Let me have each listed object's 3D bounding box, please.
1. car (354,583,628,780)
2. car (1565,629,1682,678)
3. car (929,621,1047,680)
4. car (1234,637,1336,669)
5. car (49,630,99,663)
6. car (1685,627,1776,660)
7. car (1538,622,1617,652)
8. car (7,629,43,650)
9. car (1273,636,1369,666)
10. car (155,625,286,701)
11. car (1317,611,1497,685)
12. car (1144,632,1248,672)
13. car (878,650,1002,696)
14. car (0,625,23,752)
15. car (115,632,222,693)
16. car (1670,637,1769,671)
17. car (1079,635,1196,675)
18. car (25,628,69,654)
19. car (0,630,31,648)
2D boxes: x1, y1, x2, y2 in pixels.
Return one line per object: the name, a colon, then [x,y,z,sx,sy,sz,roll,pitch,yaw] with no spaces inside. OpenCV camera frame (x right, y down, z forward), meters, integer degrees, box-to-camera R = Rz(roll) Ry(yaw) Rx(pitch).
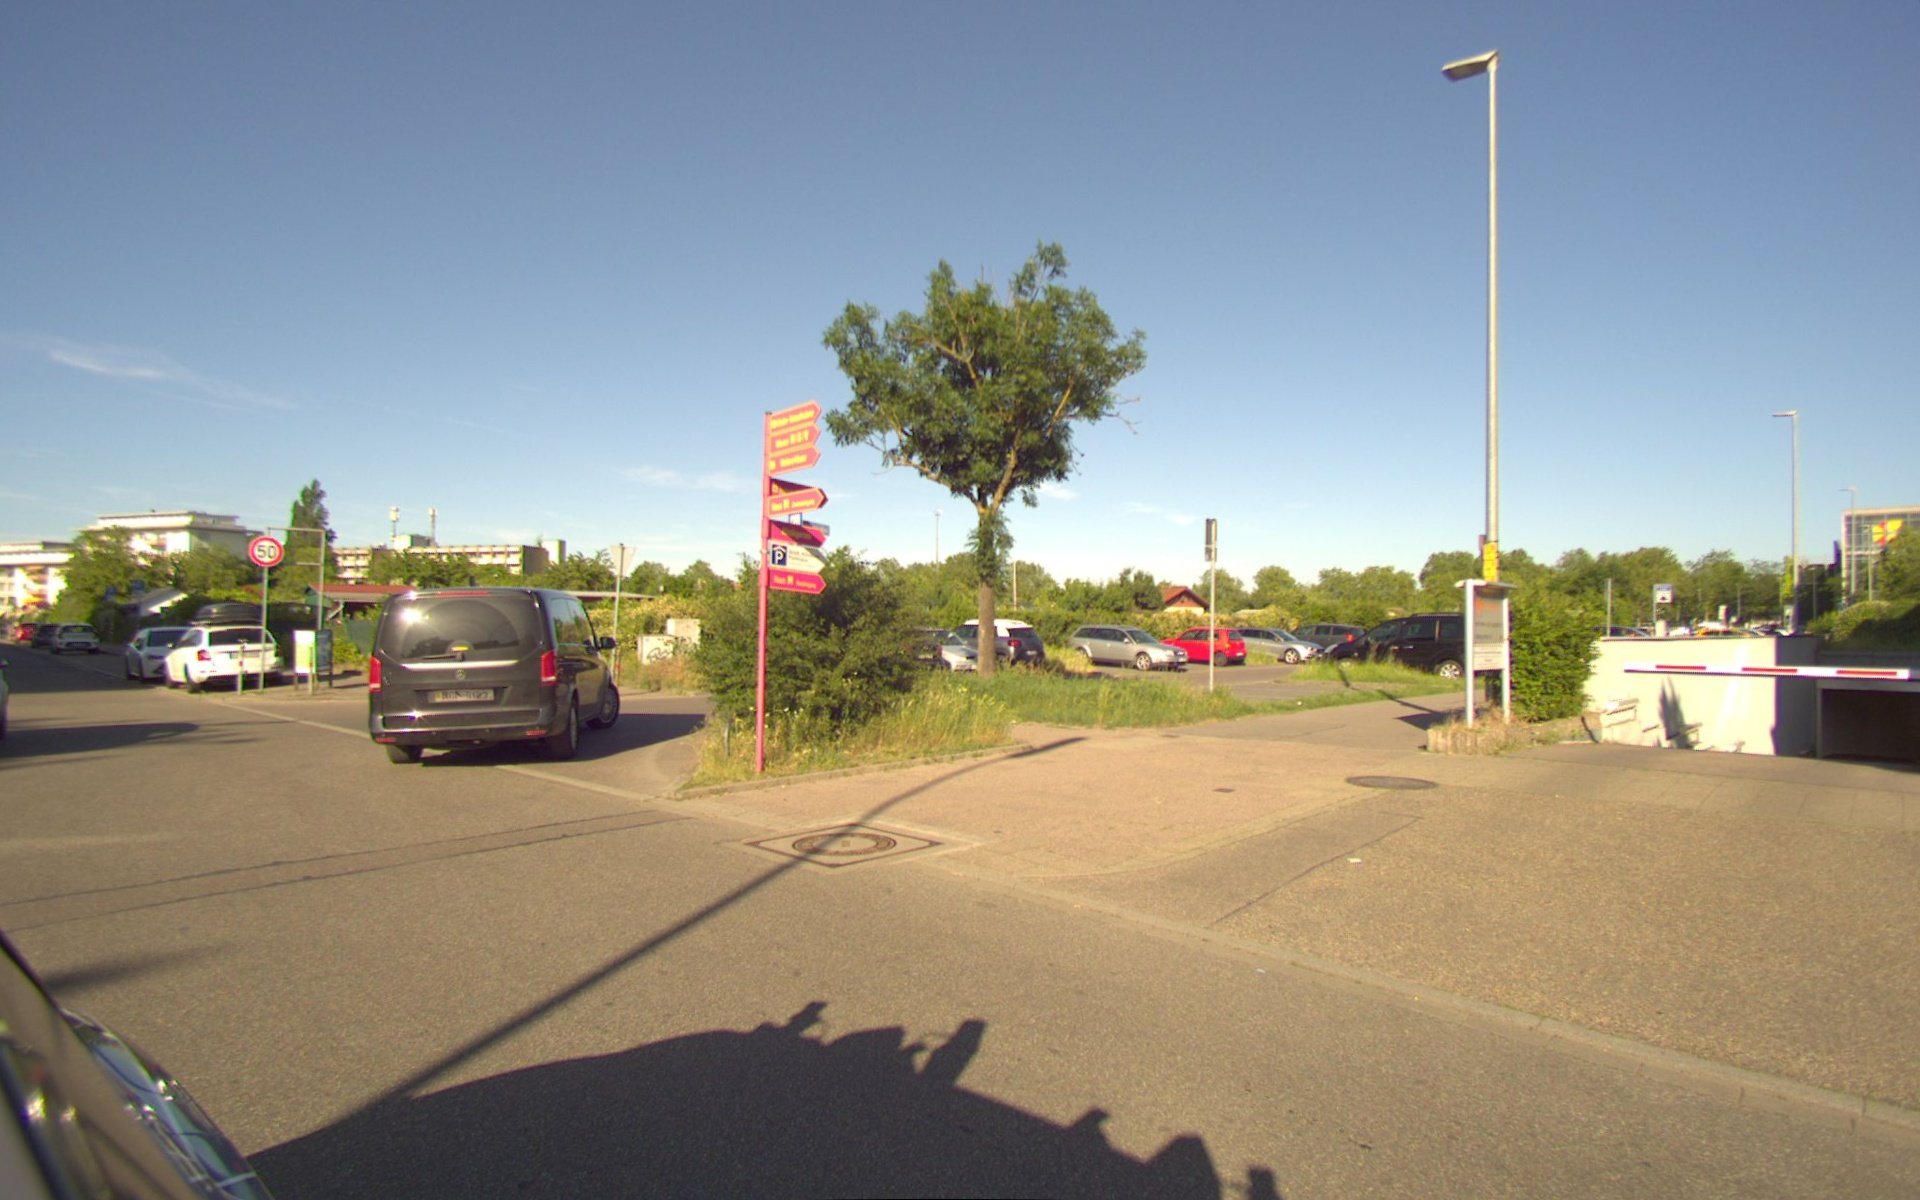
car: [-5.402,0.867,12.476,1.929,1.882,5.267,0,-2,-12]
car: [29.281,2.322,44.738,4.002,2.029,1.971,-2,-3,45]
car: [0.797,1.514,31.203,1.487,1.707,3.852,2,-3,-40]
car: [13.581,2.177,42.413,3.846,1.273,1.489,-2,-3,43]
car: [-42.535,2.204,48.568,3.403,1.499,1.510,-2,-2,44]
car: [49.754,2.775,65.406,1.970,2.029,4.397,2,-3,-43]
car: [43.641,2.617,71.551,4.395,2.029,1.971,-2,-3,45]
car: [-68.132,2.866,73.739,4.387,1.440,1.677,-2,-3,44]
car: [16.428,2.312,46.144,3.846,1.273,1.489,-1,-5,43]
car: [-17.061,1.393,23.265,4.518,1.525,1.677,-2,0,44]
car: [11.739,1.232,26.781,1.487,1.803,4.110,2,-3,-40]
car: [9.235,2.011,39.805,1.487,1.496,3.852,2,-3,-40]
car: [-0.641,2.047,28.971,1.487,1.160,3.852,2,-3,-40]
car: [-11.445,0.987,10.777,1.652,1.460,4.009,-1,-4,-36]
car: [-21.798,1.653,27.803,4.543,1.457,1.727,-2,0,45]
car: [45.451,3.196,60.670,1.969,1.955,4.400,2,-2,-40]
car: [6.174,1.903,35.438,3.846,1.273,1.489,-1,-5,43]
car: [-54.896,2.450,60.843,4.518,1.434,1.677,-2,0,44]
car: [-75.338,3.103,80.625,3.912,1.380,1.677,-2,-3,44]
